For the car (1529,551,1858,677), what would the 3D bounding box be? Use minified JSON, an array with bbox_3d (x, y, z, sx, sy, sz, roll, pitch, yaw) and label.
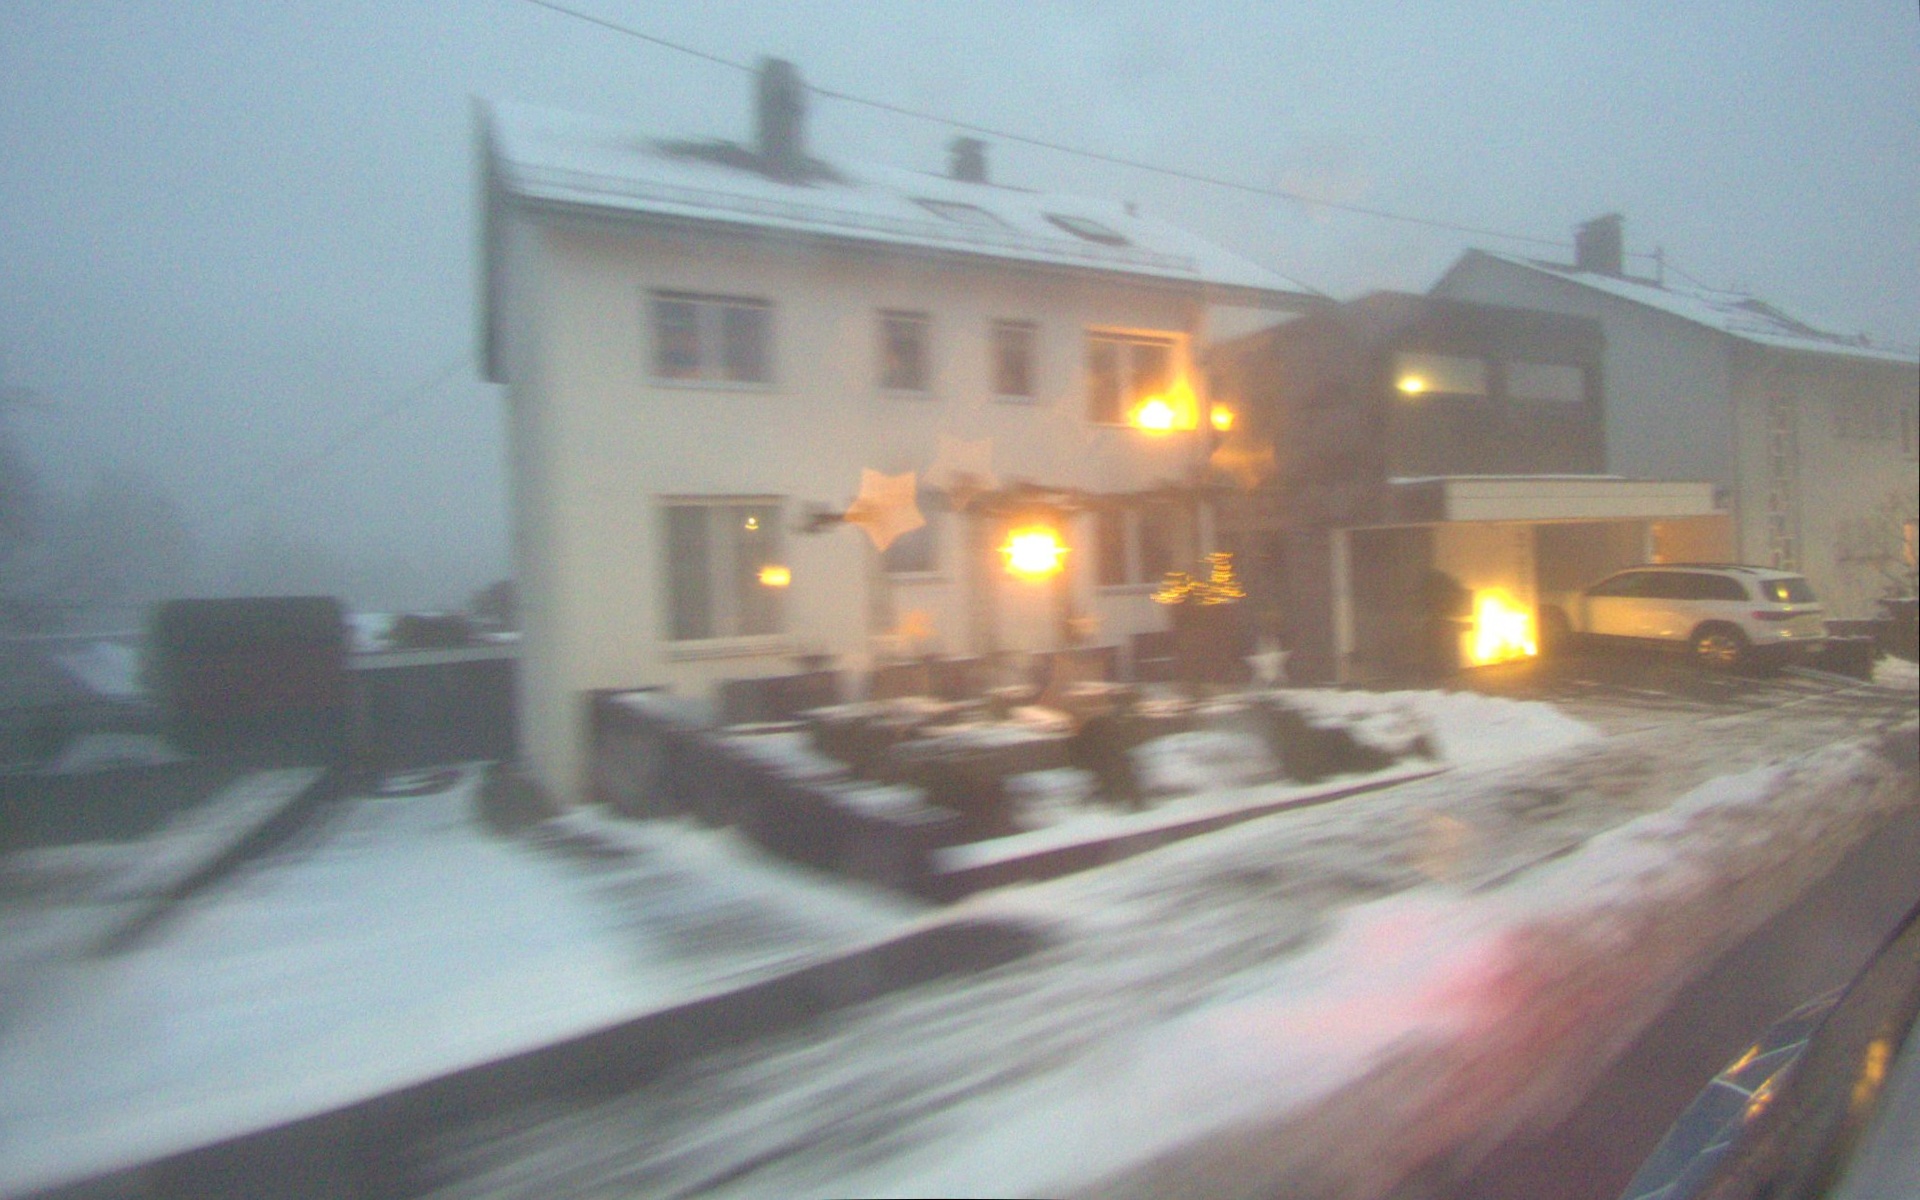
[{"bbox_3d":[12.437,0.147,17.485,1.872,1.881,4.226,-1,2,-27],"label":"car"}]
